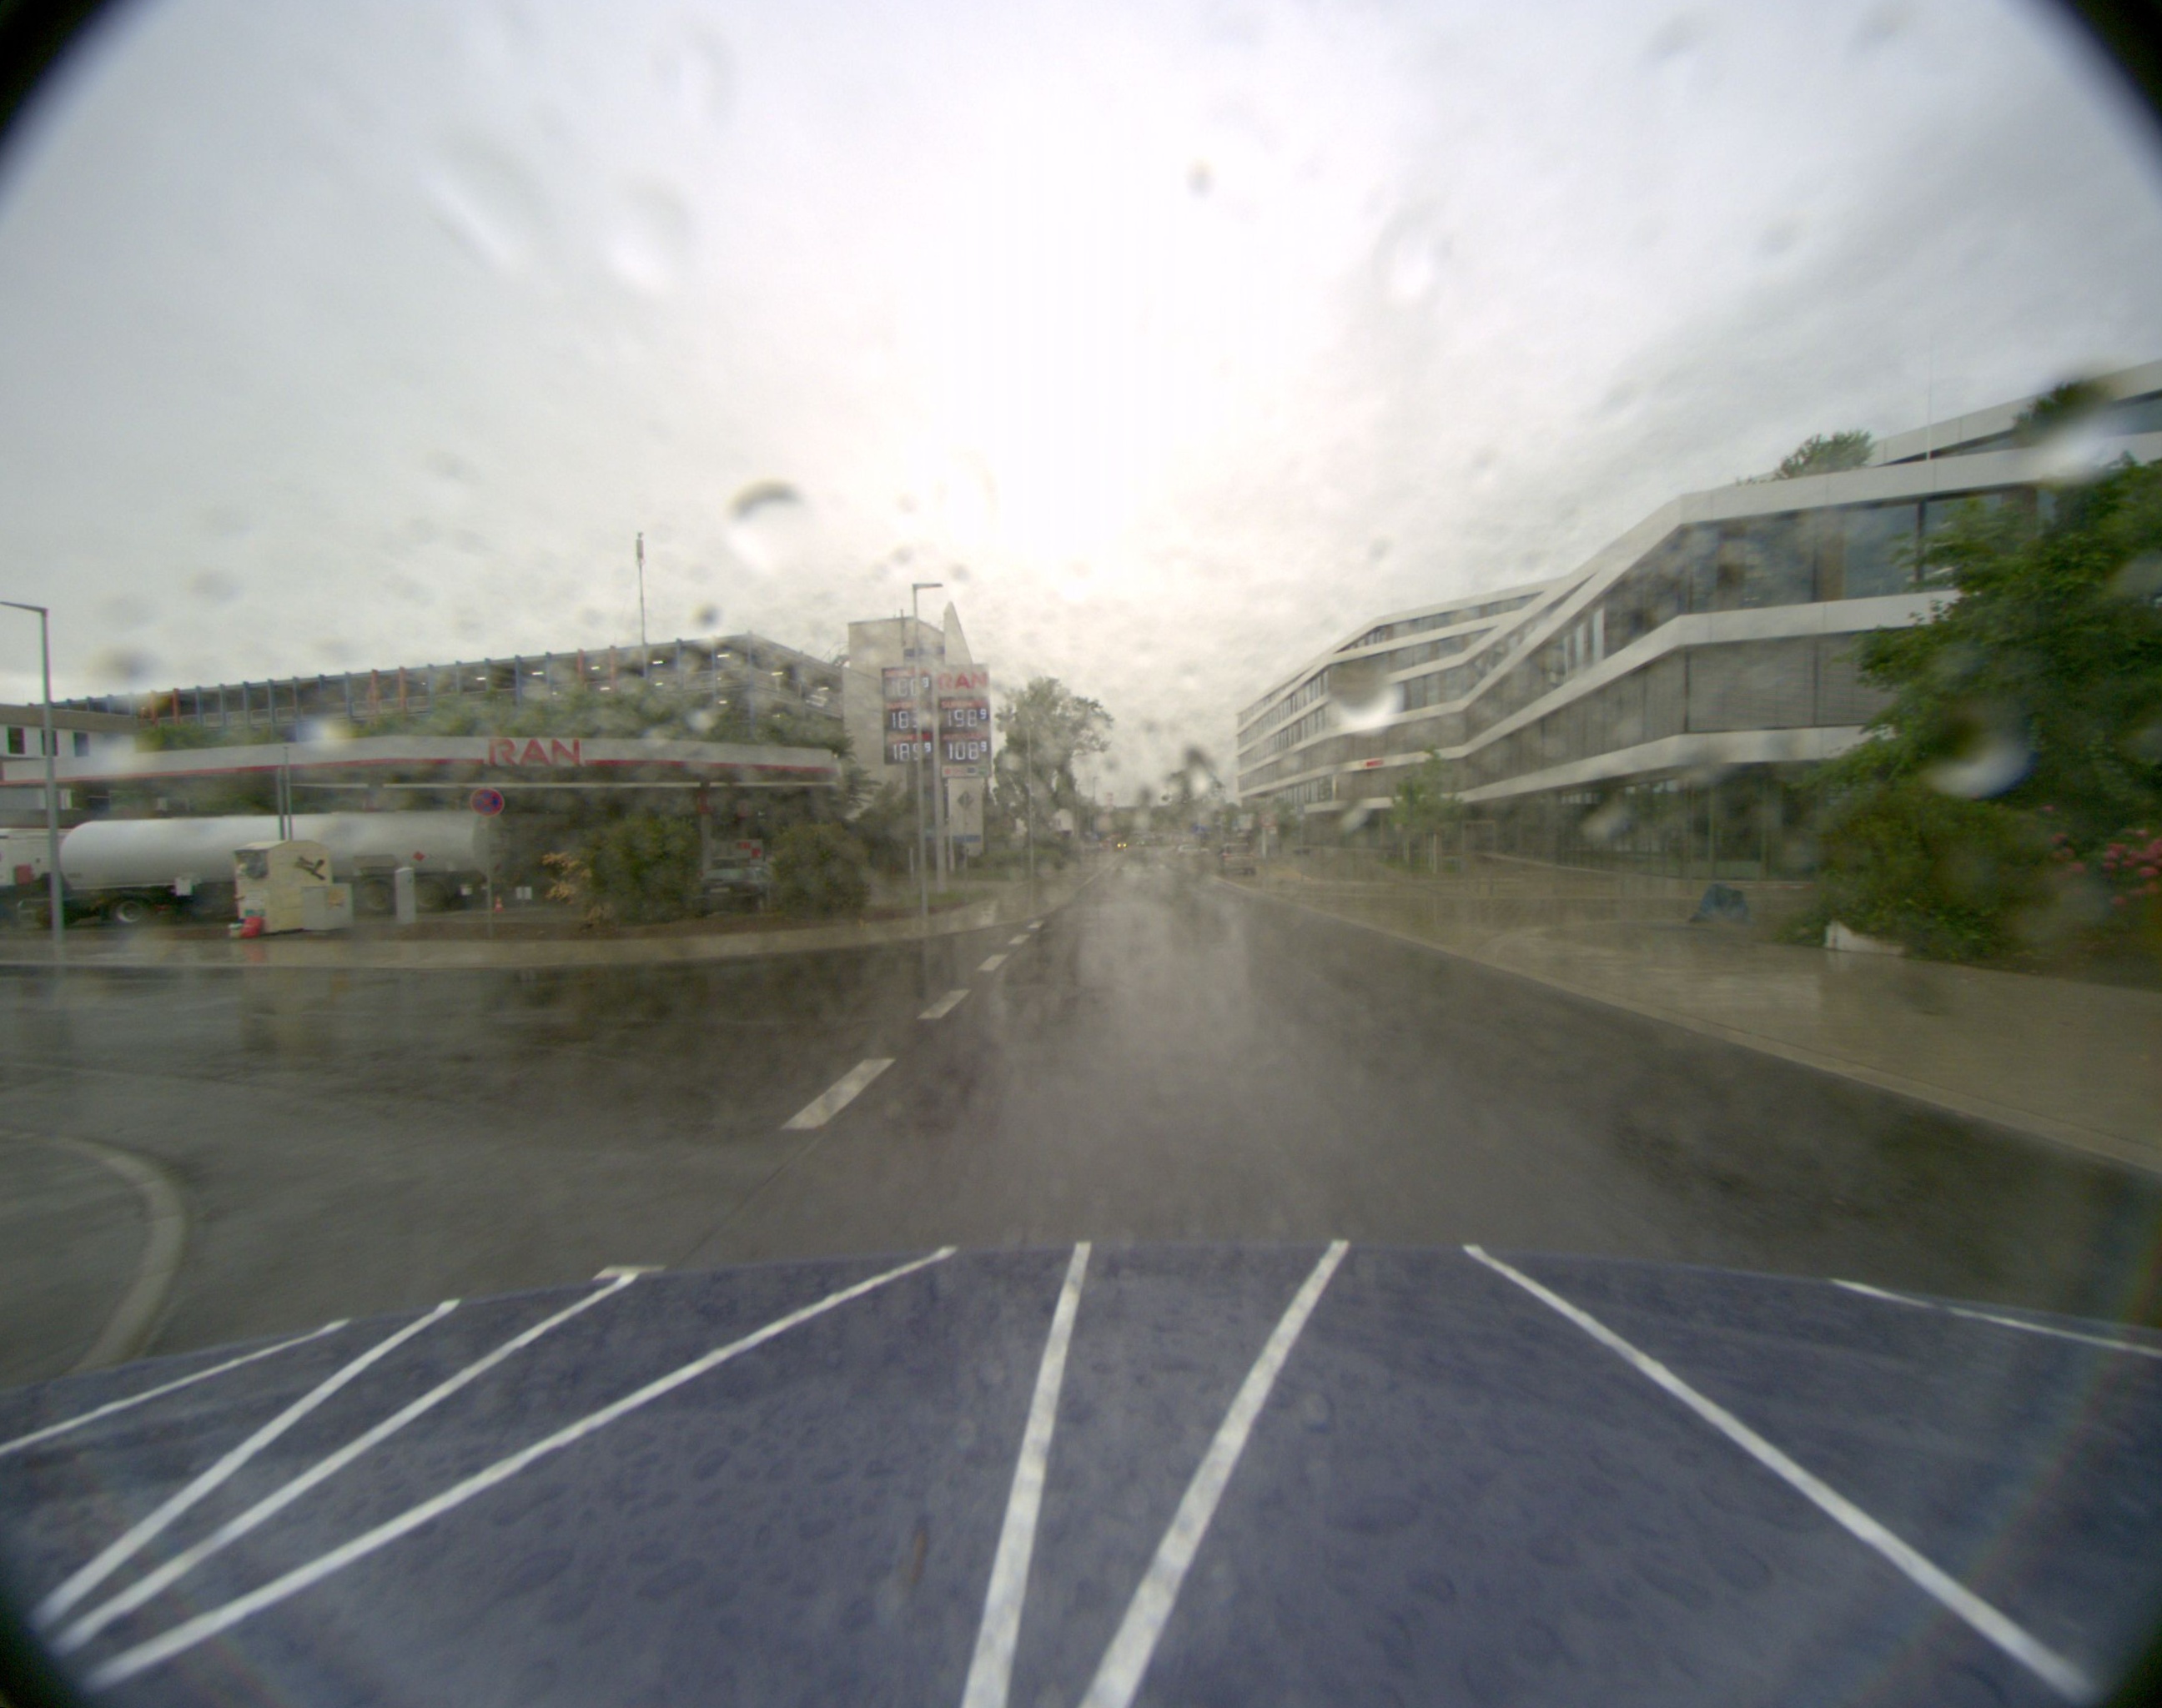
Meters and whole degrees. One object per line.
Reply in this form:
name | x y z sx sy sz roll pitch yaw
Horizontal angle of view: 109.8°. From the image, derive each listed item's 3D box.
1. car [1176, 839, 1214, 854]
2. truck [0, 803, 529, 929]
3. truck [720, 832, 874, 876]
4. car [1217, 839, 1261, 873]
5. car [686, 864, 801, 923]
car | 13.063 -0.851 86.816 4.165 1.411 2.001 -3 1 8
truck | -26.430 0.332 24.142 14.417 3.339 2.645 -2 -1 -13
truck | -14.875 0.042 40.120 7.295 2.193 2.086 0 -1 -2
car | 8.552 0.079 41.511 1.841 1.696 4.324 -1 1 5
car | -9.349 1.017 21.439 1.694 1.332 4.336 -2 1 -6
